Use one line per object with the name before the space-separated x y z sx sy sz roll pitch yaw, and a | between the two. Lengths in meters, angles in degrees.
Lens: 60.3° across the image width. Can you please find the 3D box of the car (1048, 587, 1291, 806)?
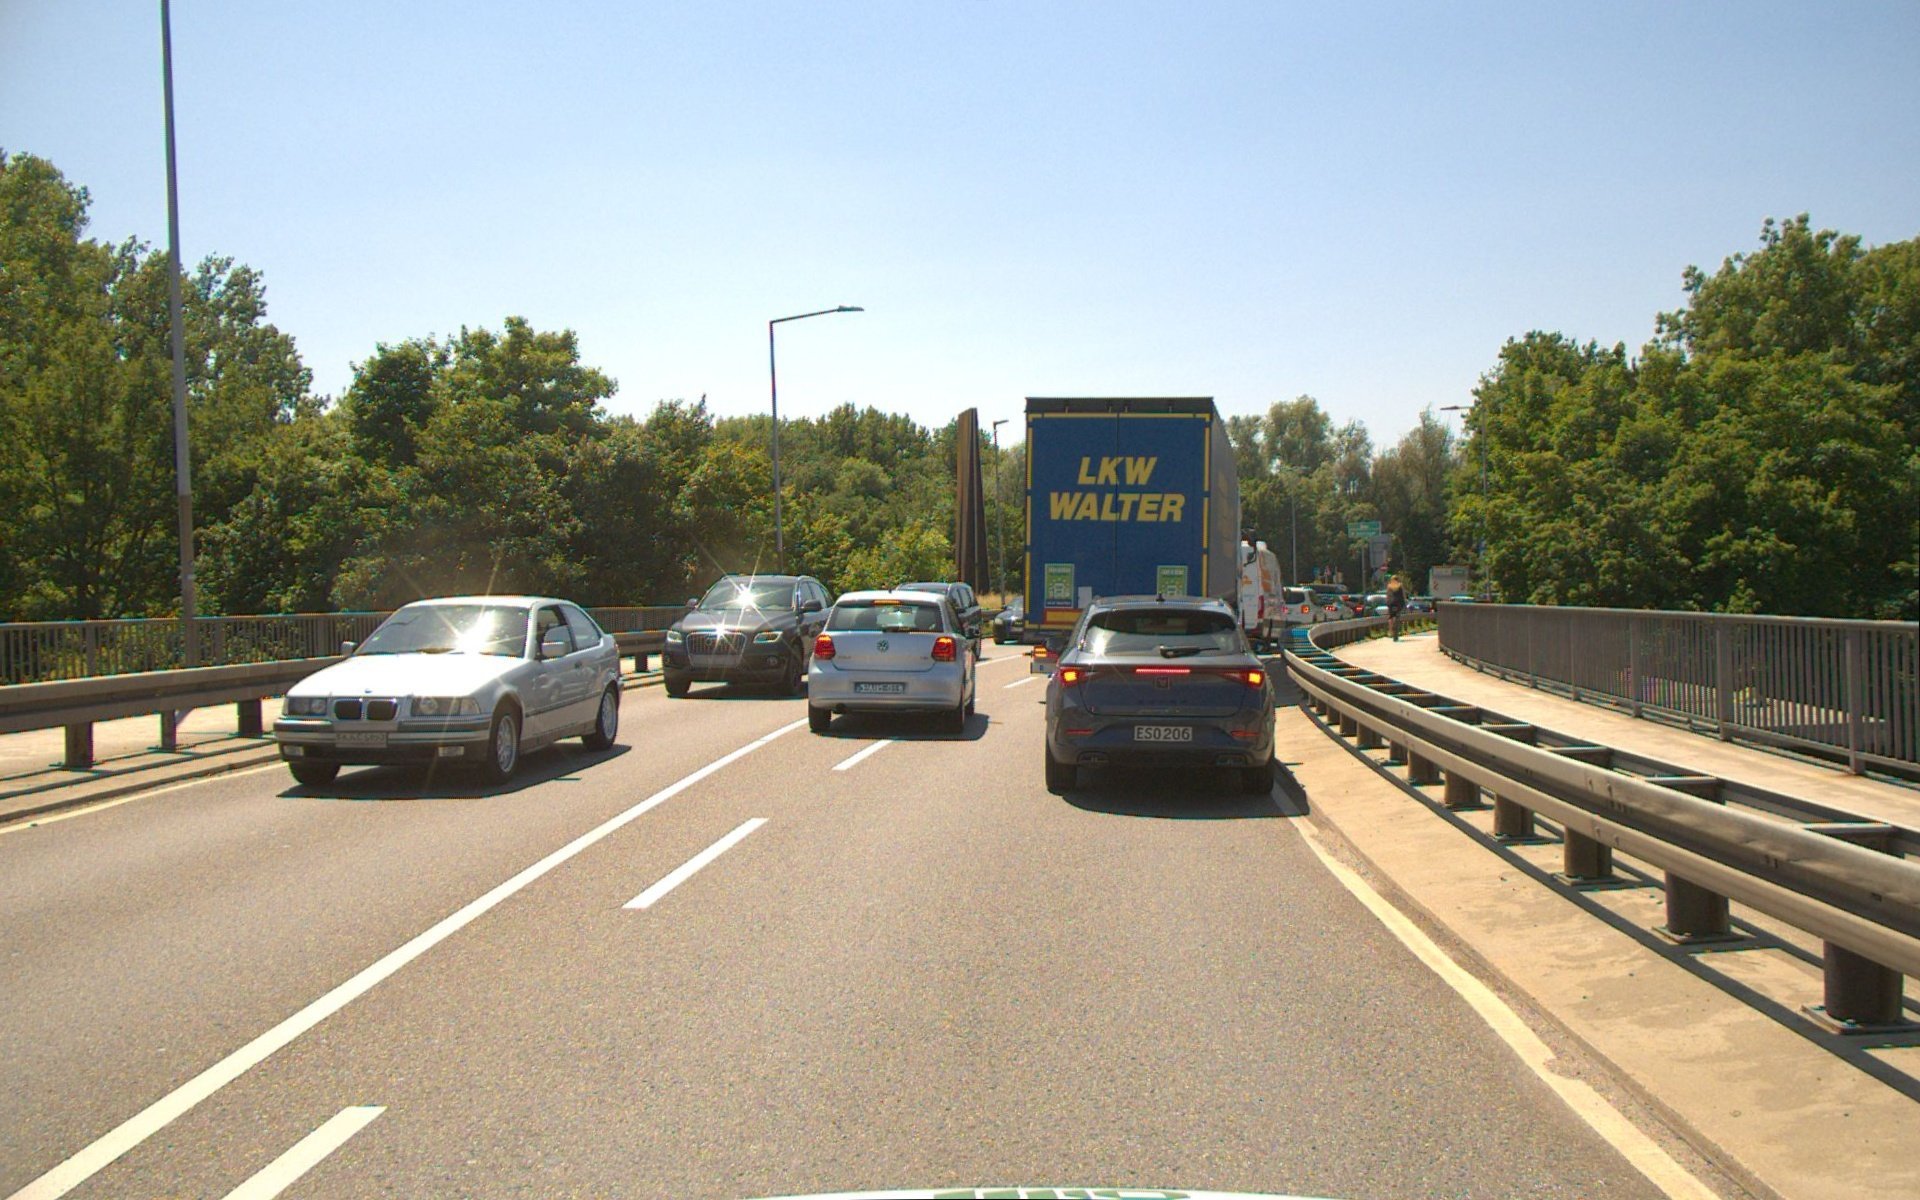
car | 1.584 0.645 13.330 1.642 1.481 3.961 1 0 4

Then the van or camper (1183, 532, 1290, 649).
van or camper | 7.470 -0.270 44.156 2.108 2.864 6.392 1 1 16

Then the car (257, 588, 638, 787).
car | -4.019 0.610 13.694 1.661 1.400 4.002 0 0 4

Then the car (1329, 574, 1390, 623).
car | 15.830 -0.088 65.383 1.686 1.876 3.999 1 1 23

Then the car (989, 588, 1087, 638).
car | 2.267 0.344 47.004 1.643 1.331 3.973 1 0 20

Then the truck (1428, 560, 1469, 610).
truck | 29.678 -0.906 100.628 2.285 2.924 5.945 1 1 16

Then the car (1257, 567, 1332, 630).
car | 10.479 -0.077 51.671 1.685 1.876 4.001 1 1 20

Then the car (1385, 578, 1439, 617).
car | 21.312 -0.092 77.934 1.653 1.791 3.995 1 0 28

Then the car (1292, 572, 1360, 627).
car | 12.833 -0.037 57.829 1.686 1.834 4.000 1 1 22

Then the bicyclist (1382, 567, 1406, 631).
bicyclist | 11.872 -0.019 45.226 0.565 1.712 0.730 -2 0 14

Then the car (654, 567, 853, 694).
car | -2.897 0.388 24.179 1.762 1.669 4.304 0 0 9

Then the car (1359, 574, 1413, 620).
car | 18.453 -0.148 71.566 1.686 1.876 3.999 1 1 23

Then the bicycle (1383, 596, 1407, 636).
bicycle | 11.901 0.438 45.302 0.569 1.054 1.486 -2 0 14

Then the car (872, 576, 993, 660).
car | -0.520 0.338 35.149 1.670 1.654 4.256 0 0 12

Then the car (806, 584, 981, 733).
car | -0.640 0.568 18.545 1.642 1.435 3.976 1 1 2

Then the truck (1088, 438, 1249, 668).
truck | 4.641 -0.973 35.748 2.842 4.495 6.561 1 1 12

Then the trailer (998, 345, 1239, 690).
trailer | 3.110 -1.161 27.956 2.842 4.495 12.444 1 1 11

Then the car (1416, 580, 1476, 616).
car | 24.755 -0.091 84.134 1.957 1.602 3.991 3 -1 31
